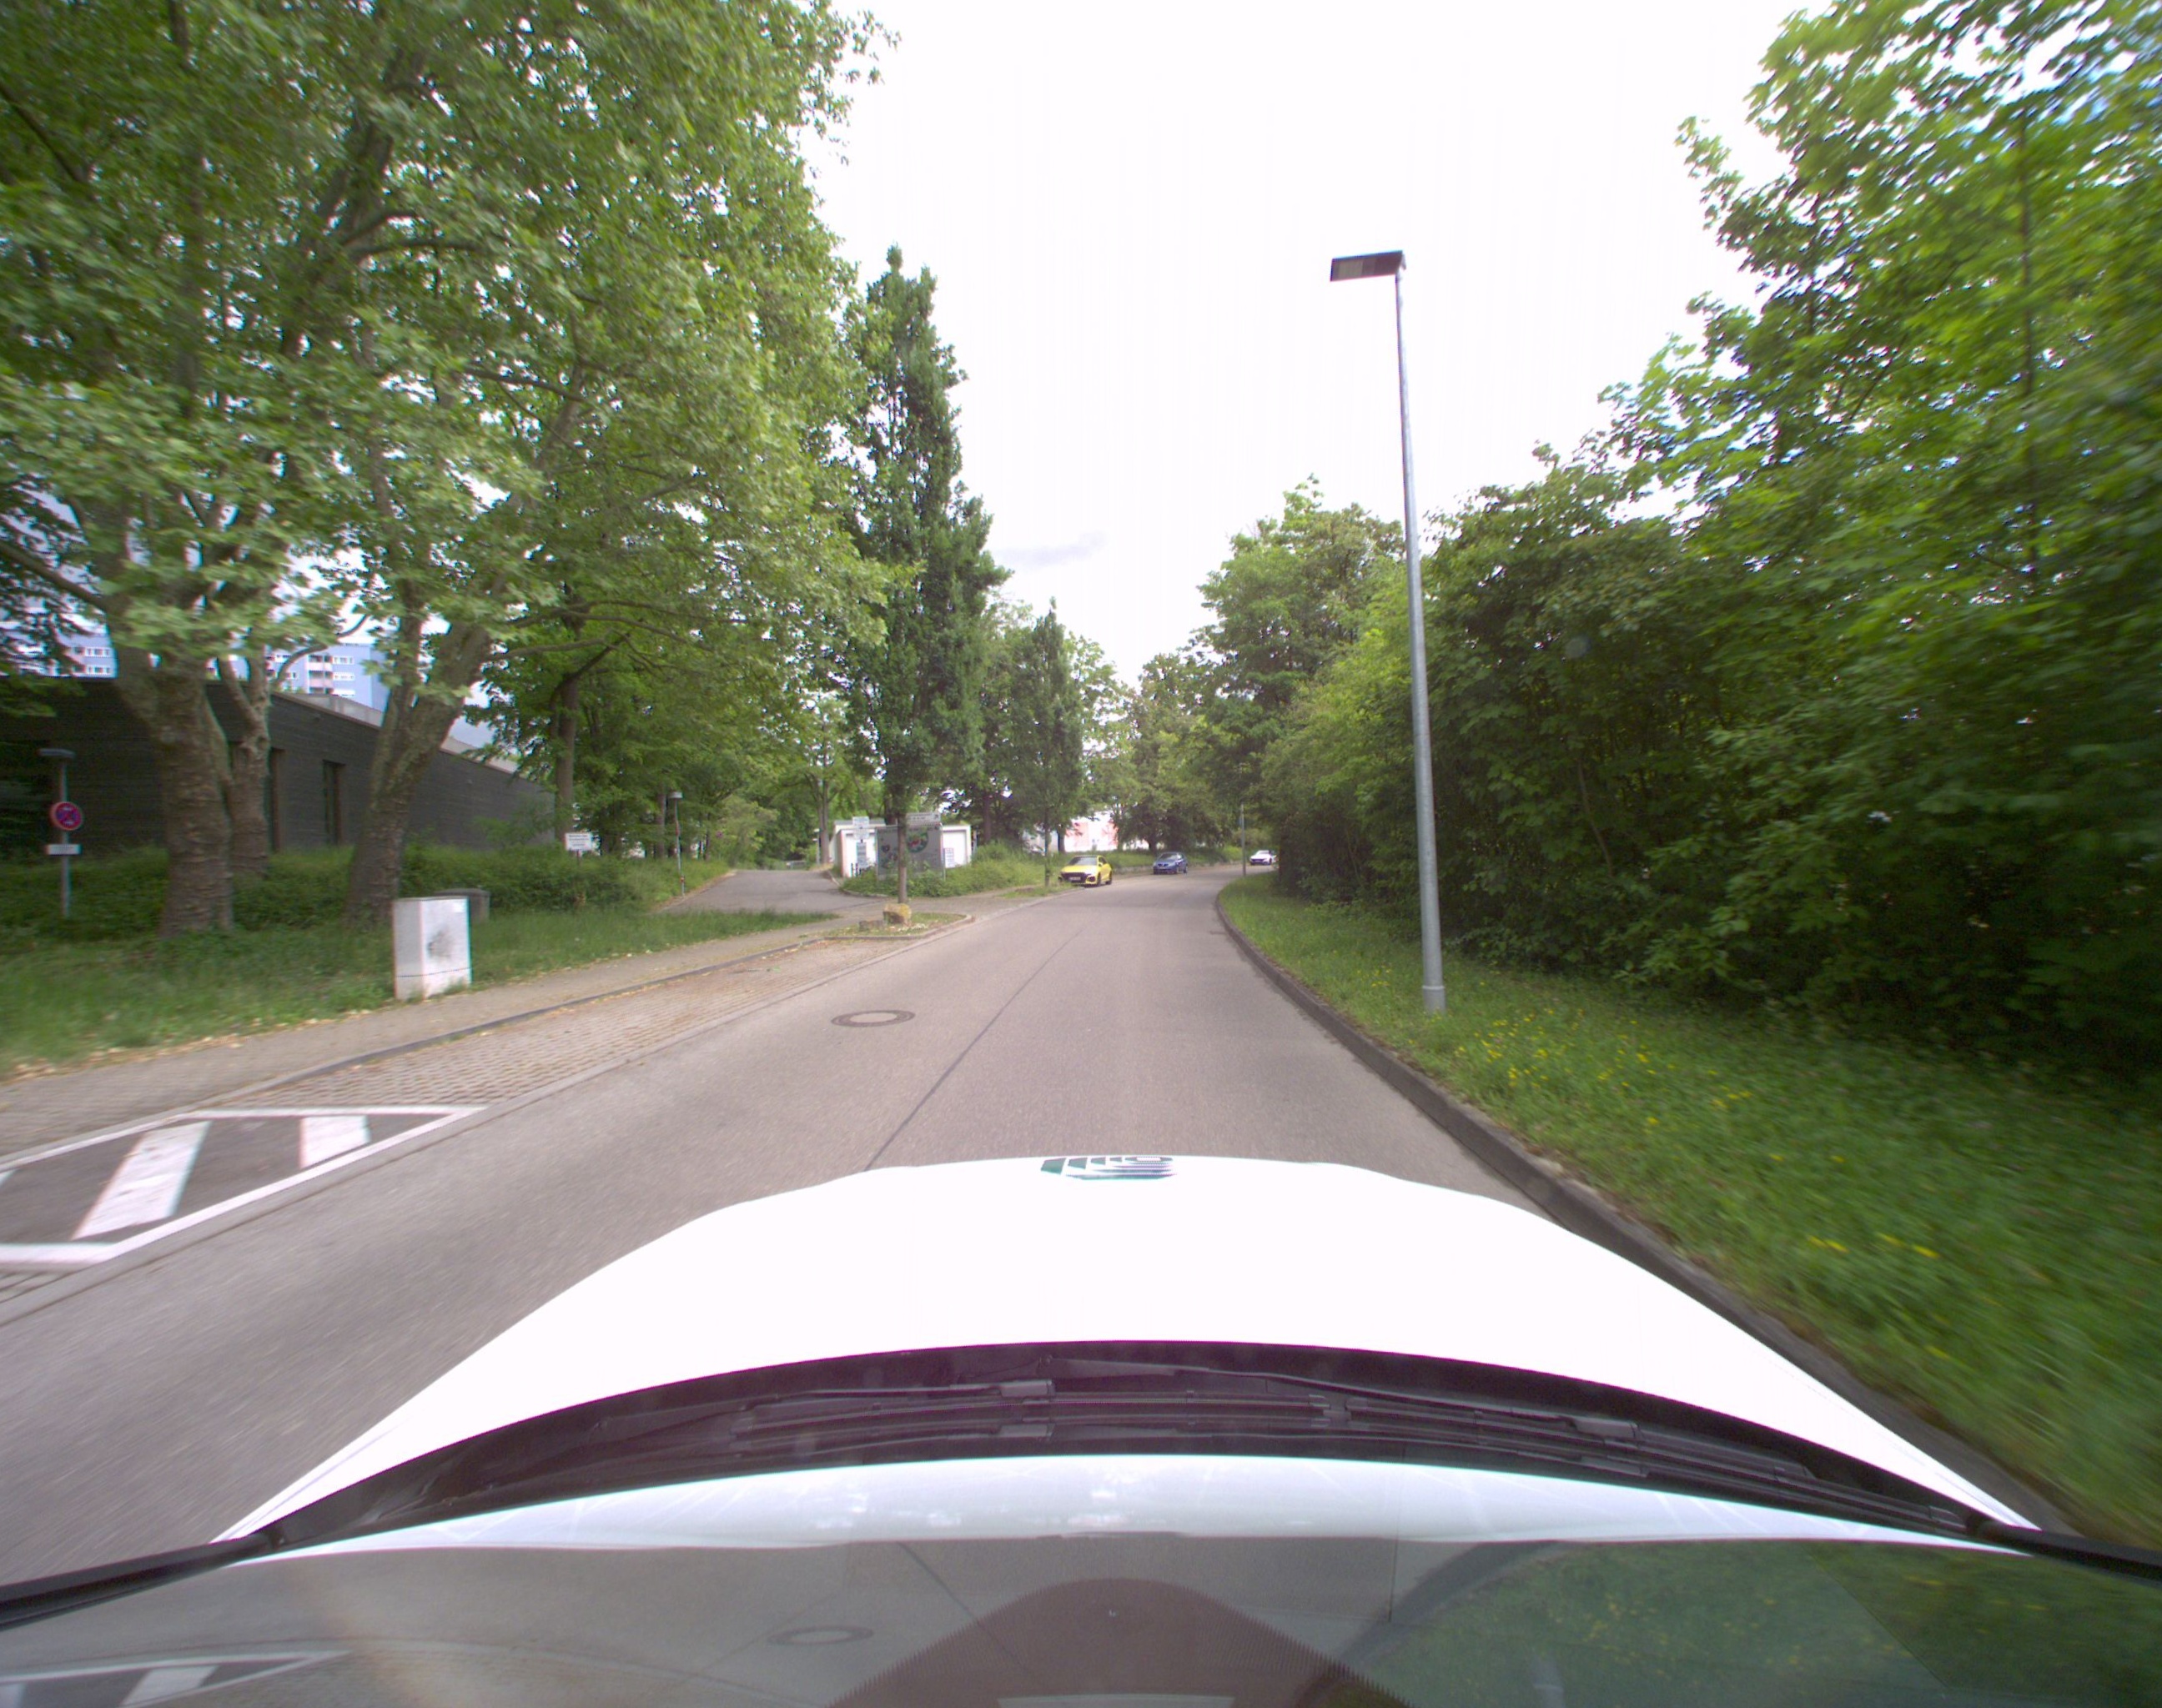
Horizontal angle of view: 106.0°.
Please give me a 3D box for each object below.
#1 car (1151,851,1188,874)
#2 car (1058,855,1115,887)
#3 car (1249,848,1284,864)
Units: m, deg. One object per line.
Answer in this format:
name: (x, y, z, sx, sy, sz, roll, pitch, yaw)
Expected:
car: (6.011, 0.561, 54.827, 1.520, 1.459, 3.739, -2, 0, 21)
car: (0.318, 0.745, 37.796, 1.688, 1.403, 4.288, -1, 0, 13)
car: (17.106, 0.182, 75.043, 1.796, 1.424, 4.388, -1, 0, 32)
